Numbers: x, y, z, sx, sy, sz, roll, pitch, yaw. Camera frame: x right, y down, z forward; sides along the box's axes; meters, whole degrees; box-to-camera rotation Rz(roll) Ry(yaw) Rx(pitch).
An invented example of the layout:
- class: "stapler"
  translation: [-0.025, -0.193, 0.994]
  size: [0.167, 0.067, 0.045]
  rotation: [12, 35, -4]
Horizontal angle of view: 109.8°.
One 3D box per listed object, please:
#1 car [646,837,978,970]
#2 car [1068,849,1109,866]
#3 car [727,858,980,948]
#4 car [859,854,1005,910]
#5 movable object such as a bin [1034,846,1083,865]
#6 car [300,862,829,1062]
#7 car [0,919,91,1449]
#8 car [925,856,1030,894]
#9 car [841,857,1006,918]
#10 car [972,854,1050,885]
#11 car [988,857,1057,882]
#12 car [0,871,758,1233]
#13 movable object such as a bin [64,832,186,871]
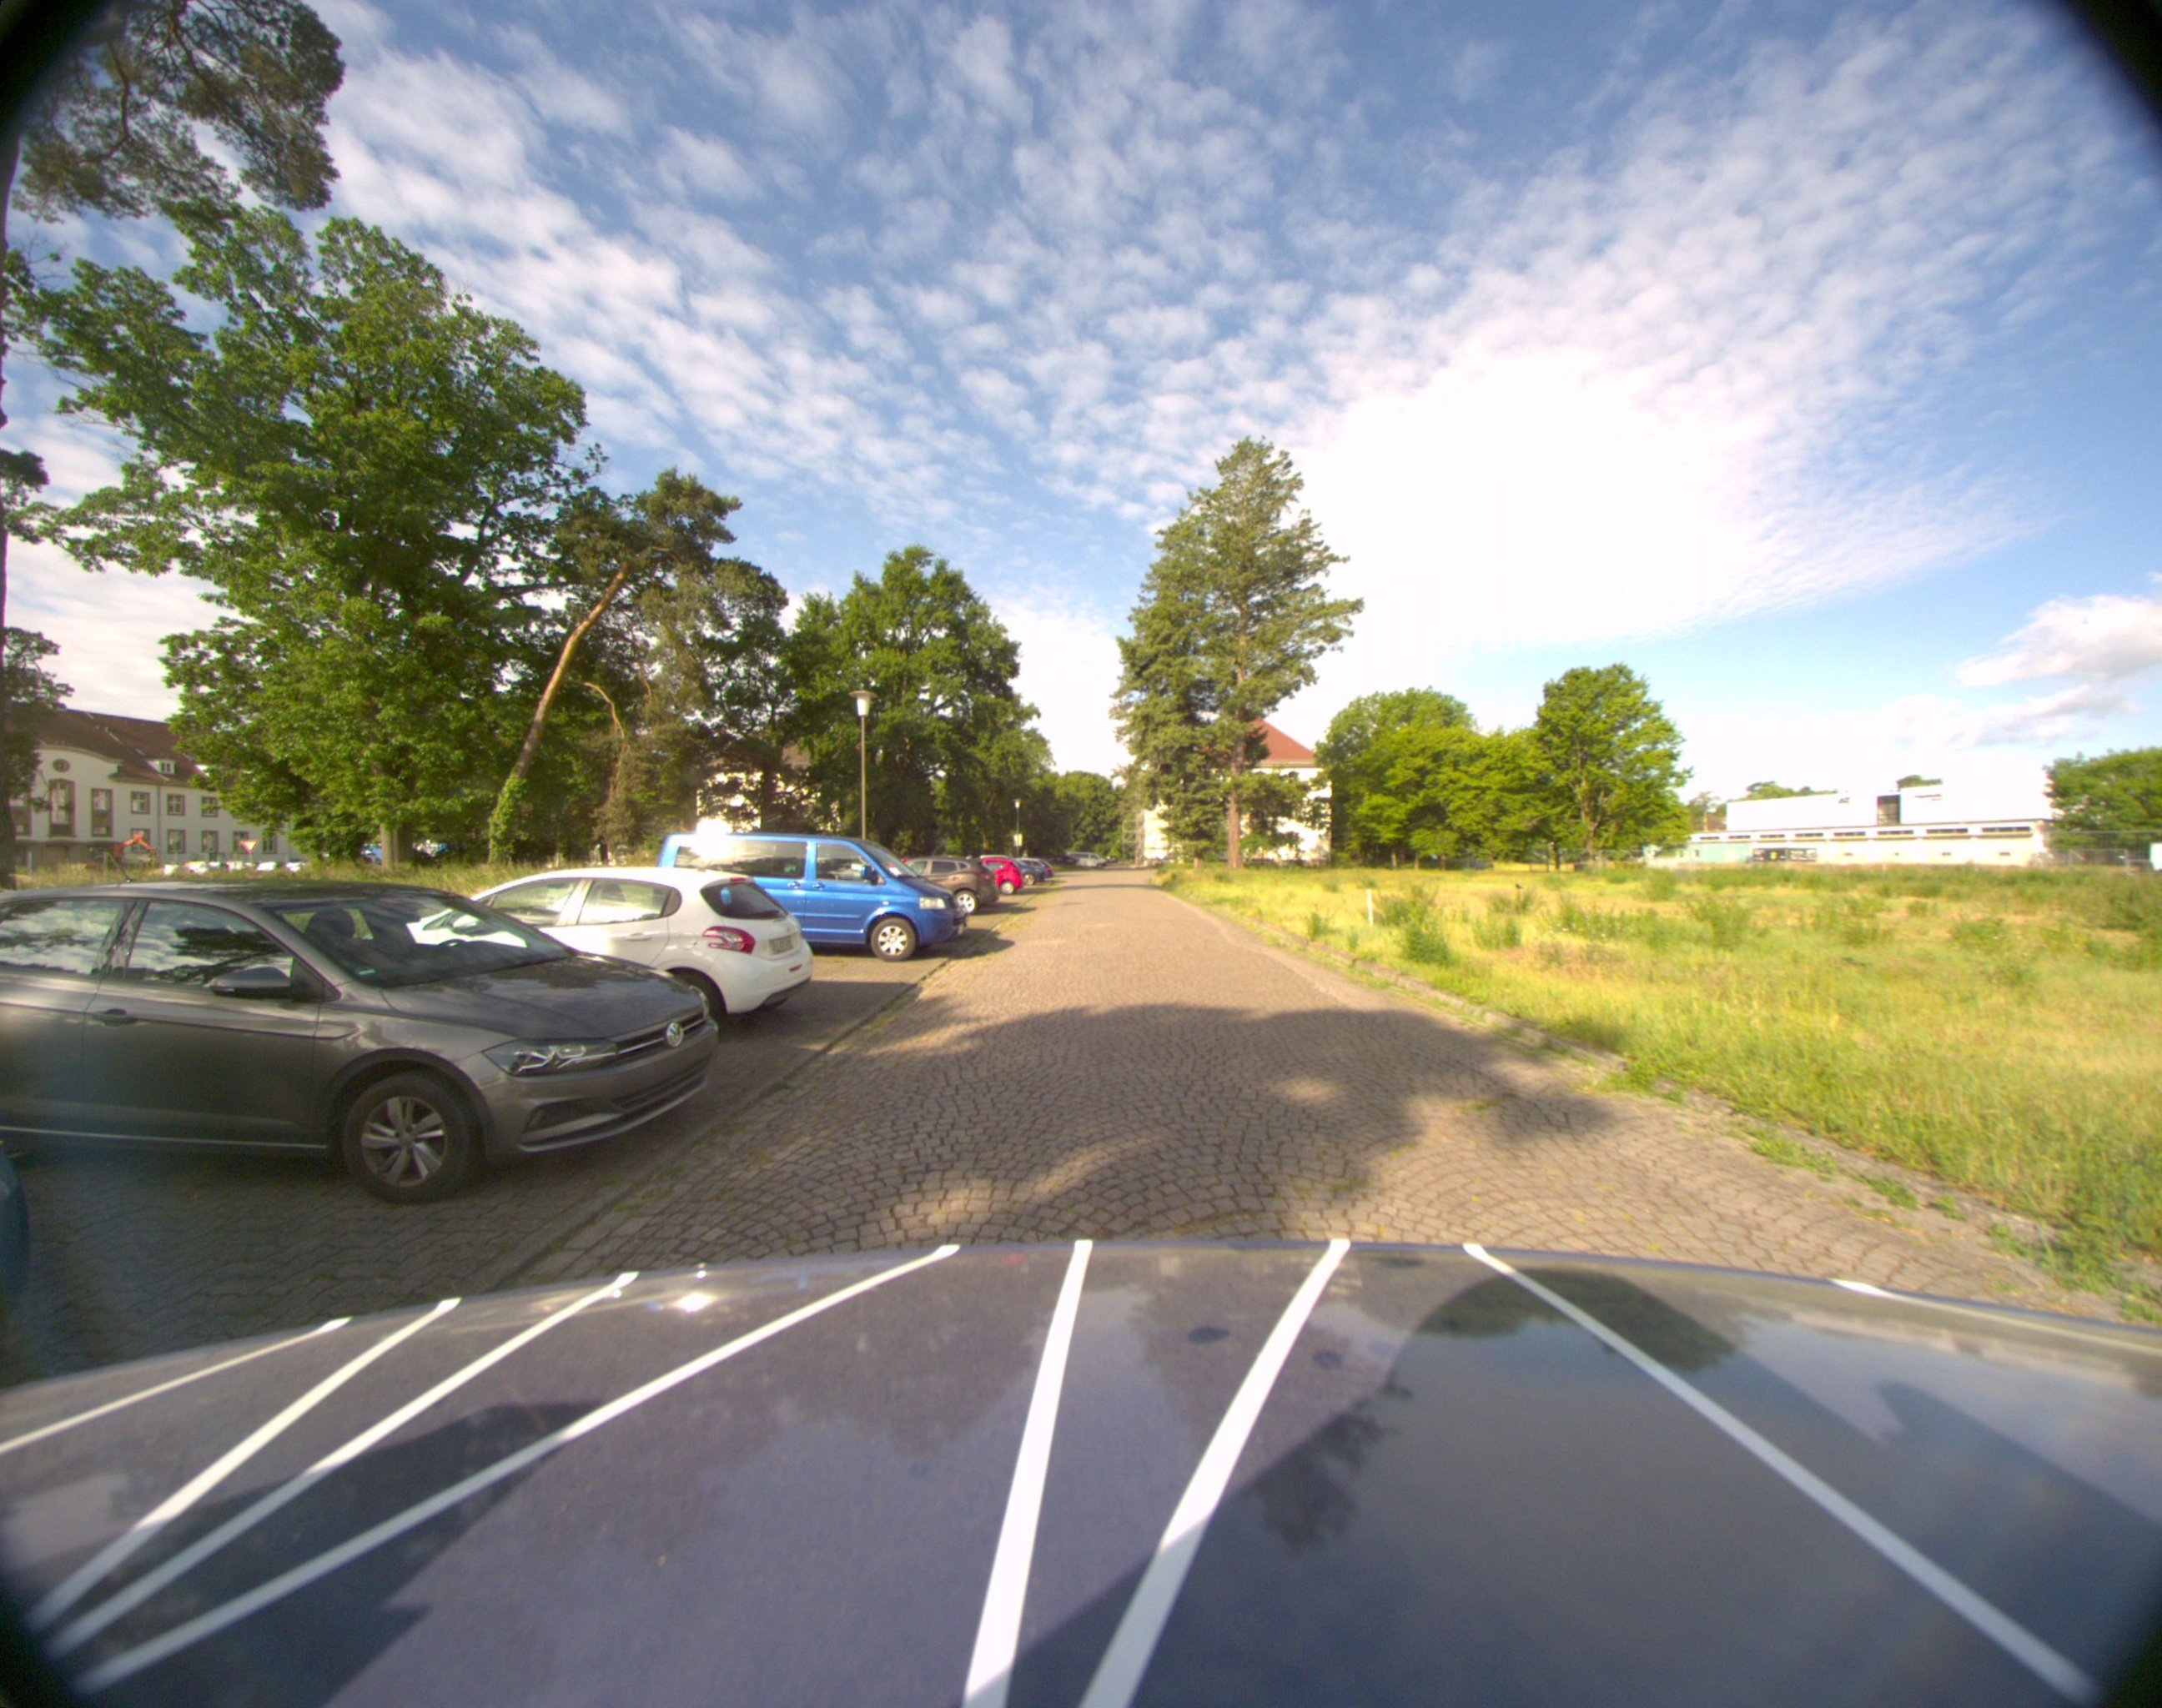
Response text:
- class: "car"
  translation: [-4.216, 0.749, 12.502]
  size: [4.710, 1.924, 2.000]
  rotation: [1, 1, 1]
- class: "car"
  translation: [0.899, 0.409, 95.366]
  size: [4.933, 2.002, 1.999]
  rotation: [1, 1, -5]
- class: "car"
  translation: [-4.377, 0.913, 15.125]
  size: [4.408, 1.568, 1.939]
  rotation: [1, 1, 1]
- class: "car"
  translation: [-4.620, 0.846, 24.061]
  size: [4.237, 1.588, 1.934]
  rotation: [1, 1, -2]
- class: "movable object such as a bin"
  translation: [-2.414, 0.135, 82.493]
  size: [4.865, 2.002, 2.002]
  rotation: [-1, 0, 14]
- class: "car"
  translation: [-4.522, 0.880, 7.073]
  size: [3.716, 1.525, 1.761]
  rotation: [1, 0, 1]
- class: "car"
  translation: [-4.835, 0.877, 1.385]
  size: [3.716, 1.440, 1.816]
  rotation: [1, 0, 1]
- class: "car"
  translation: [-4.262, 0.868, 31.750]
  size: [4.097, 1.451, 1.853]
  rotation: [1, 0, 0]
- class: "car"
  translation: [-4.317, 0.914, 21.350]
  size: [4.237, 1.589, 1.934]
  rotation: [0, 1, -2]
- class: "car"
  translation: [-3.801, 0.841, 41.971]
  size: [4.097, 1.548, 1.853]
  rotation: [1, 0, 0]
- class: "car"
  translation: [-3.557, 0.913, 46.655]
  size: [4.097, 1.415, 1.784]
  rotation: [1, 0, 0]
- class: "car"
  translation: [-4.077, 0.876, 4.240]
  size: [3.716, 1.440, 1.856]
  rotation: [1, 0, 1]
- class: "movable object such as a bin"
  translation: [-88.047, -0.271, 70.202]
  size: [6.460, 3.282, 2.859]
  rotation: [-3, 1, -42]
